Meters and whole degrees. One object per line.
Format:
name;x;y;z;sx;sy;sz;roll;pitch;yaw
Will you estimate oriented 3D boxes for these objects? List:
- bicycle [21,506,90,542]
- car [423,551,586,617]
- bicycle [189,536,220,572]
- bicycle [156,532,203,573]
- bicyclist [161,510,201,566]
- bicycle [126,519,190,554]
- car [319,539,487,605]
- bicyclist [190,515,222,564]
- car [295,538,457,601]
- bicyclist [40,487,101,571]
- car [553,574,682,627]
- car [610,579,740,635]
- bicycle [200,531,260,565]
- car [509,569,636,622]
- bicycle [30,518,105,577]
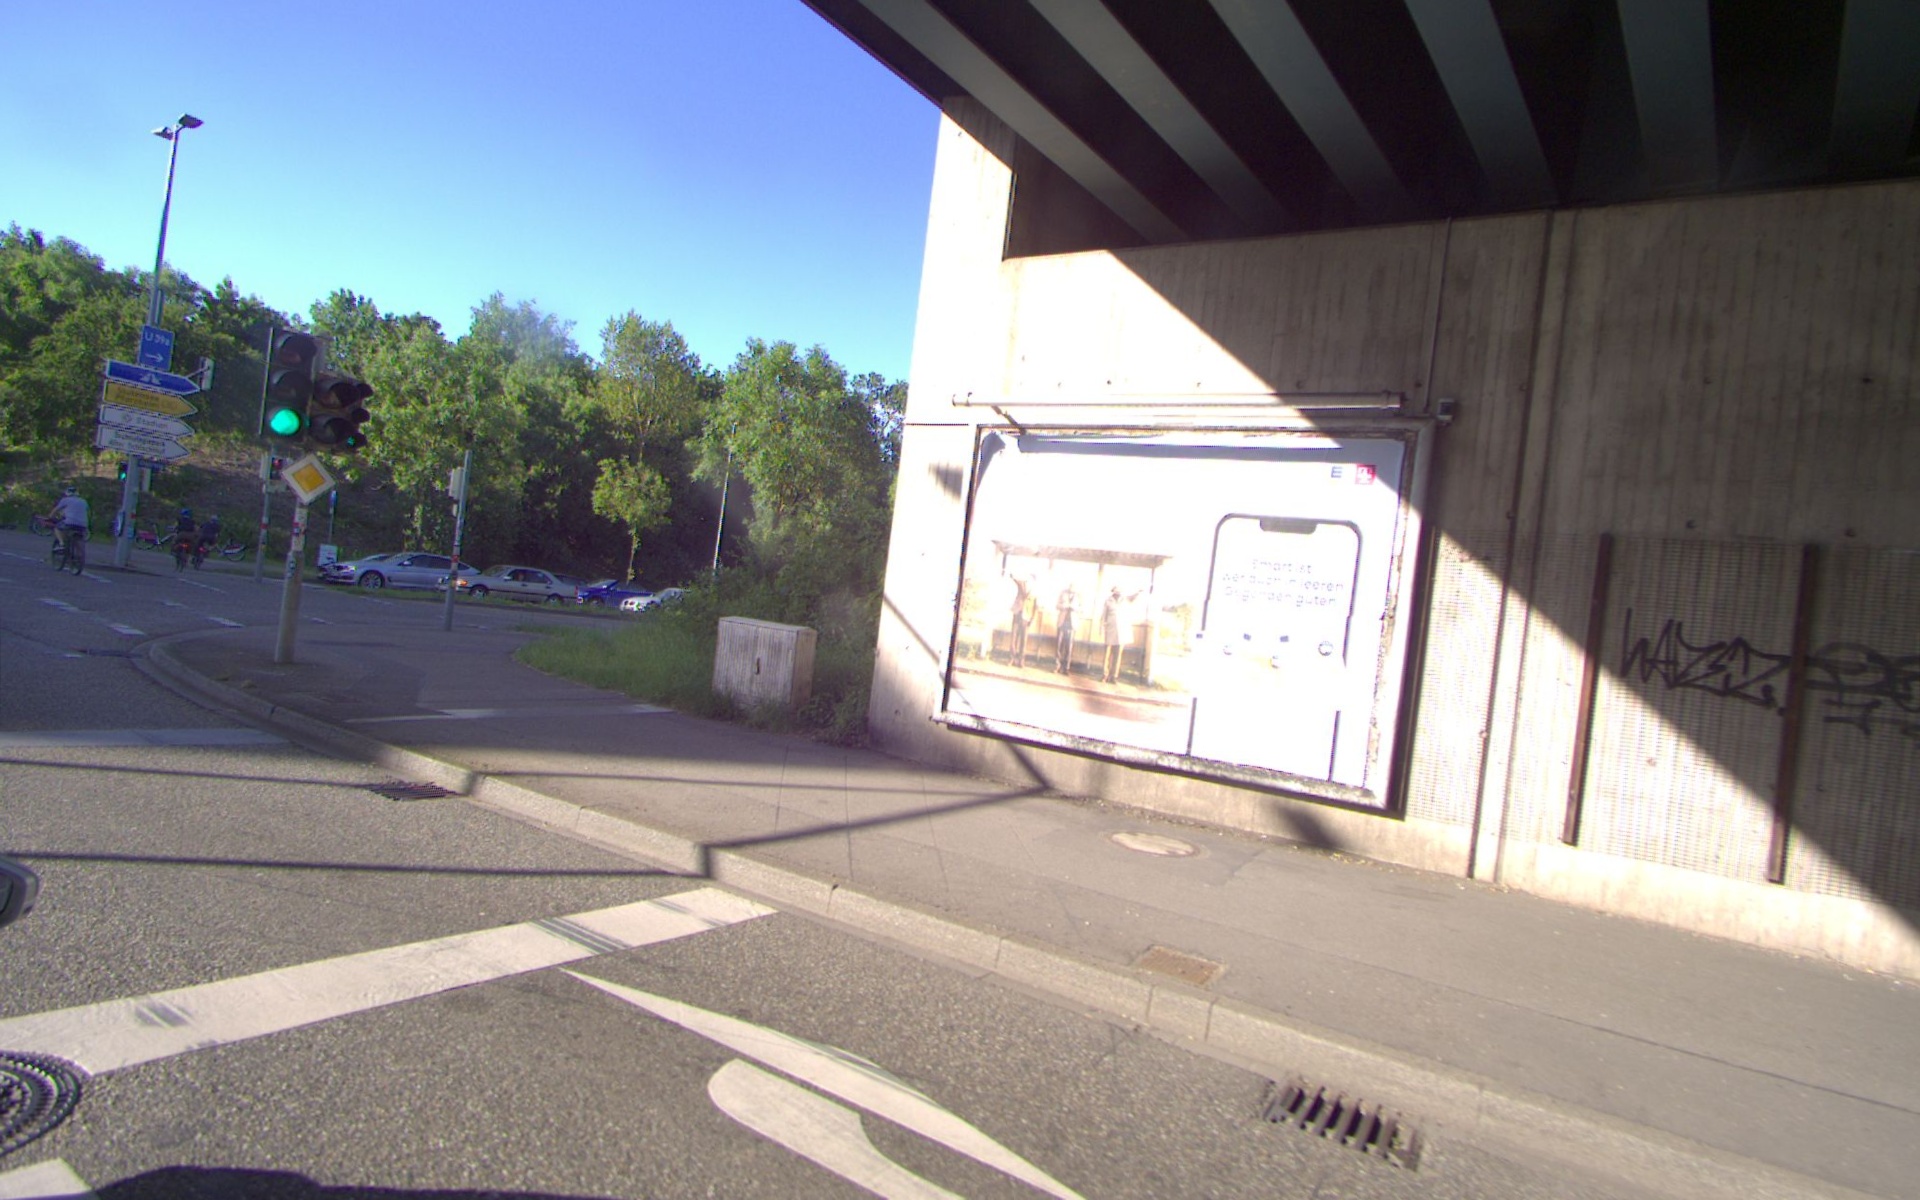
bicycle;-33.062;-2.771;36.790;0.585;1.035;1.744;5;-3;40
car;-15.121;-0.494;33.647;1.801;1.531;4.550;5;-4;38
bicycle;-24.702;-1.519;32.902;0.664;1.035;1.733;8;-1;-35
bicycle;-22.229;-1.363;28.645;2.029;1.035;0.670;4;-3;44
bicyclist;-22.175;-1.763;28.639;0.741;1.491;0.664;5;-3;43
bicycle;-30.474;-2.414;38.252;0.585;1.035;1.744;5;-3;40
car;-18.805;-0.909;34.143;1.801;1.531;4.550;5;-4;38
bicyclist;-24.651;-1.967;32.908;0.646;1.498;0.612;8;-1;-35
car;-20.742;-1.051;35.909;1.801;1.531;4.550;5;-4;38
bicyclist;-17.858;-1.431;20.196;0.756;1.566;0.593;5;-2;32
car;-13.682;0.053;40.412;1.801;1.531;4.550;5;-4;38
car;-10.949;0.307;38.905;1.801;1.531;4.550;5;-4;38
bicycle;-28.592;-2.037;39.407;0.586;1.035;1.743;5;-3;42
car;-16.088;-0.158;41.943;1.801;1.531;4.550;5;-4;38
bicycle;-17.994;-1.065;20.280;1.722;1.035;0.593;5;-2;33
